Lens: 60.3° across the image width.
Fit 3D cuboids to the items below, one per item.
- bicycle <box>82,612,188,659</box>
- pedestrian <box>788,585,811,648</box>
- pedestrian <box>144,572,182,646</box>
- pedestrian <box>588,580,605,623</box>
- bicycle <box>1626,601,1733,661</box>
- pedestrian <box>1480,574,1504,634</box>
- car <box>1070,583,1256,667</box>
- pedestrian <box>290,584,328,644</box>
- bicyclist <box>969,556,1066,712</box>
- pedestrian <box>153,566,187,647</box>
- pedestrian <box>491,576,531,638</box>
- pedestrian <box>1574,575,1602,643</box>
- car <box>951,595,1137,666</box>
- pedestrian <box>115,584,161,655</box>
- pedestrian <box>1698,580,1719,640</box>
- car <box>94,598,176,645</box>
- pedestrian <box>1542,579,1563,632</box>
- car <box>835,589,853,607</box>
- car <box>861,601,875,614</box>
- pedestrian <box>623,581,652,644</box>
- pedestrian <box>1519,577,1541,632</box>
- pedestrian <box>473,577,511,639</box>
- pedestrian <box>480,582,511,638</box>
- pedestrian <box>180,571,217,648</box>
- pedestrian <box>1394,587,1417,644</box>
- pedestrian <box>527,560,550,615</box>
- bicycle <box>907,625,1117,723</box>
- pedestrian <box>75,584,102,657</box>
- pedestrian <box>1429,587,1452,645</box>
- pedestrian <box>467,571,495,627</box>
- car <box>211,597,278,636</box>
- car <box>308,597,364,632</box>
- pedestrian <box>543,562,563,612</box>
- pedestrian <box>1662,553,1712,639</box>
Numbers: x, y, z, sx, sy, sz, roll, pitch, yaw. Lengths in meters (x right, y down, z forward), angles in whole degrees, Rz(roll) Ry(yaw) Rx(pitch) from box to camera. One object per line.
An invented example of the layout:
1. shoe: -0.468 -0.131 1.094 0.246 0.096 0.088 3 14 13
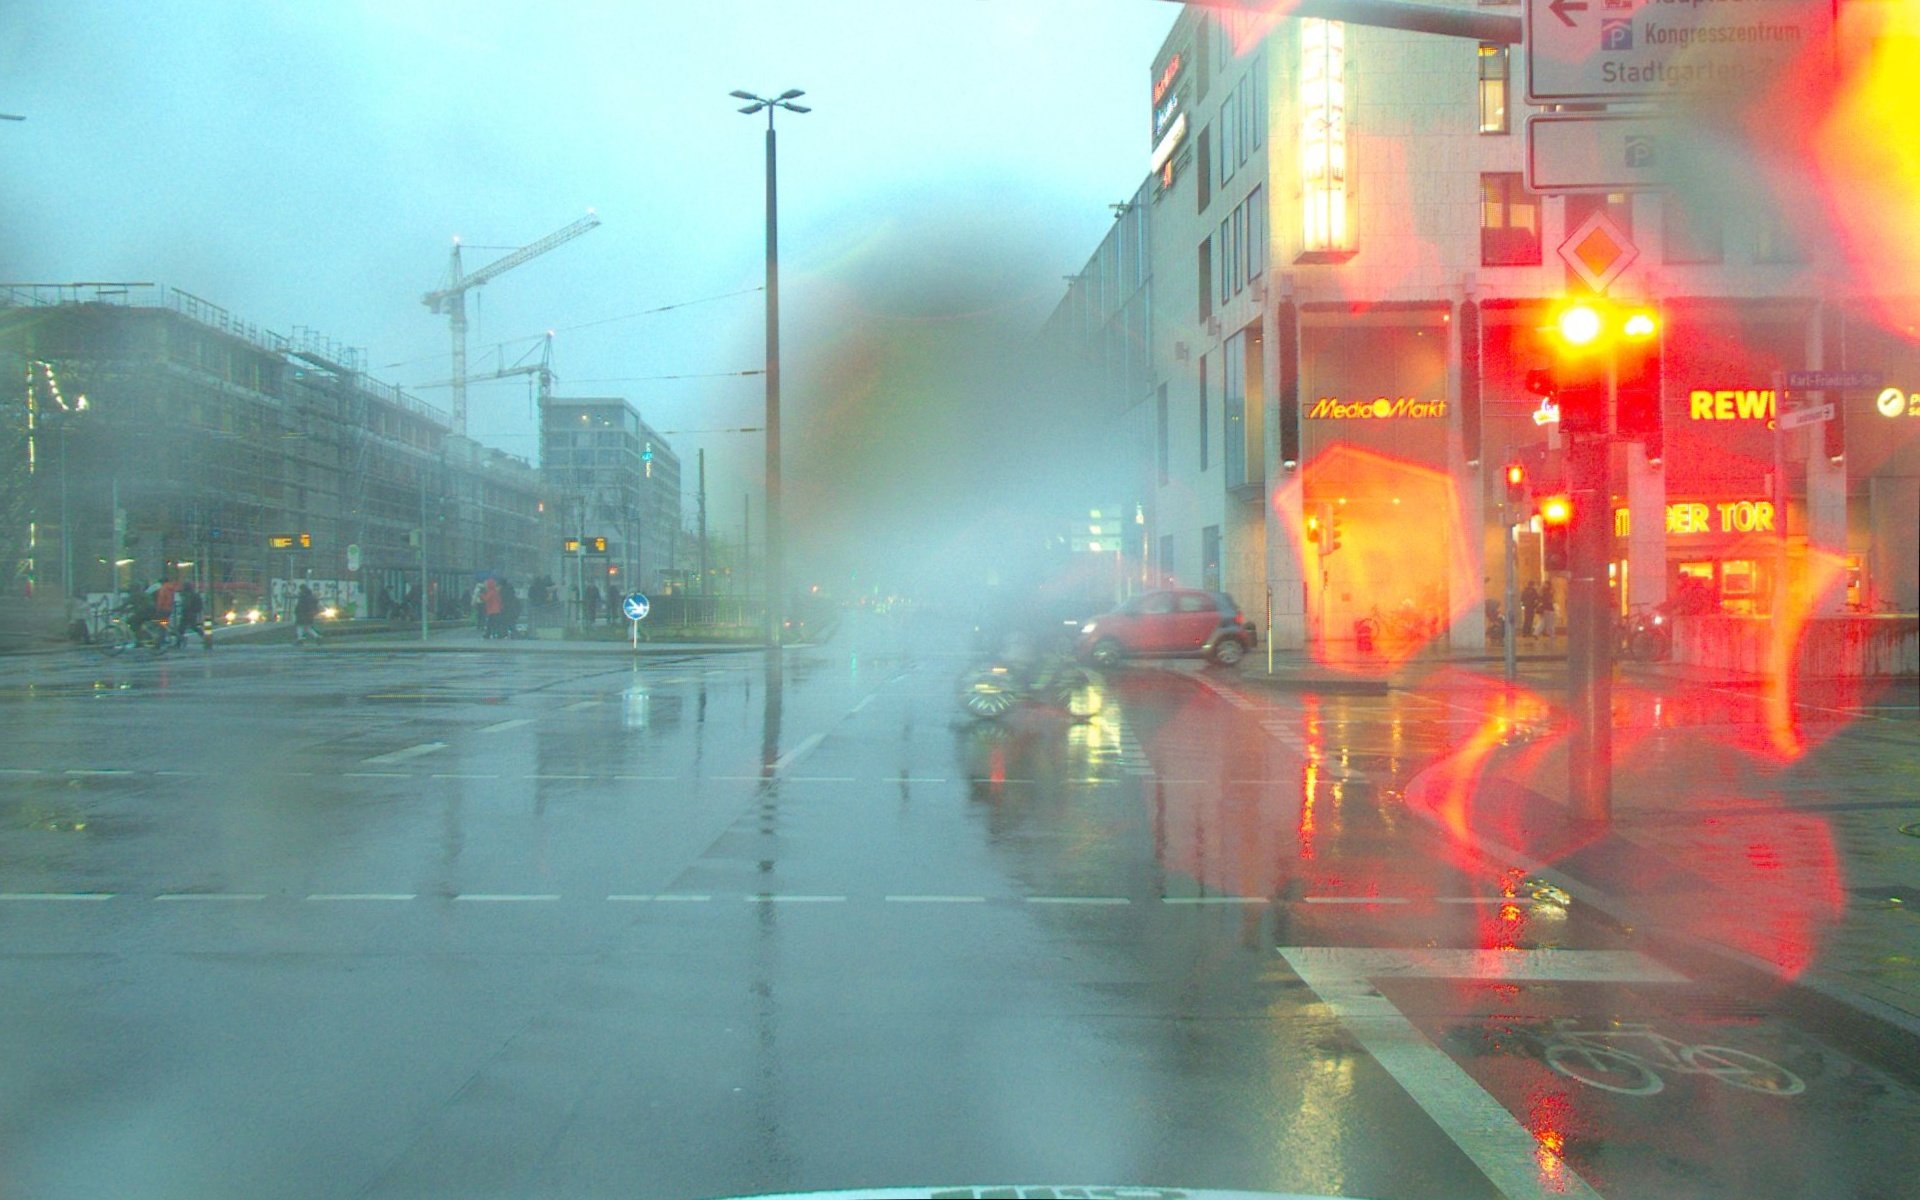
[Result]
1. bicycle: -18.859 0.811 37.850 2.090 1.009 0.540 -1 -4 -11
2. pedestrian: -4.614 0.467 47.632 0.620 1.803 0.483 -1 0 -2
3. pedestrian: -22.454 0.255 46.593 0.778 2.049 0.745 -1 0 -11
4. pedestrian: -15.058 0.070 68.603 0.648 1.776 0.619 -1 0 -11
5. bicycle: 13.840 0.597 31.848 1.806 1.112 0.618 -1 0 14
6. pedestrian: 15.750 0.123 48.947 0.526 1.748 0.500 -1 0 37
7. car: 4.081 0.502 33.546 3.498 1.610 1.675 -1 -1 -3
8. pedestrian: -18.167 0.395 46.145 0.692 1.647 0.680 -1 0 22
9. bicyclist: 0.645 0.383 18.782 1.013 1.726 0.617 -1 0 -5
10. pedestrian: -20.752 0.164 43.445 0.682 2.124 0.604 0 0 -41
11. pedestrian: -12.617 0.199 46.509 0.827 1.718 0.676 -1 0 28
12. pedestrian: 16.015 0.224 42.190 0.526 1.715 0.547 -1 0 37
13. car: 1.967 0.708 39.735 1.783 1.601 4.477 -1 0 -44
14. pedestrian: -18.814 0.450 37.866 0.800 1.597 0.535 0 -1 -10
15. pedestrian: 22.579 0.292 49.902 0.501 1.791 0.374 -1 0 16
16. car: -37.573 0.940 75.450 1.954 2.049 3.996 -1 0 -5
17. pedestrian: 19.651 0.177 54.884 0.526 1.748 0.500 -1 0 37
18. car: -13.869 -0.211 197.529 1.953 2.049 3.999 1 -1 -1
19. car: -12.814 1.093 230.836 1.850 1.814 3.713 1 -1 -1
20. pedestrian: -9.250 0.367 47.456 0.688 1.791 0.652 -1 0 -1
21. pedestrian: 18.333 0.143 53.186 0.526 1.748 0.500 -1 0 37
22. pedestrian: -12.979 0.213 45.909 0.815 1.709 0.618 -1 0 30
23. pedestrian: -13.905 0.301 49.544 0.696 1.647 0.609 -1 0 42
24. pedestrian: -20.365 0.254 44.237 0.770 2.049 0.604 0 0 -39
25. pedestrian: 13.551 0.470 50.320 0.526 1.748 0.500 -1 0 37
26. pedestrian: -13.771 -0.410 54.066 0.607 1.776 0.612 -1 0 -6
27. bicycle: 0.578 0.828 18.767 2.326 1.051 0.617 -1 0 -5
28. pedestrian: -24.631 0.577 46.761 0.498 2.049 0.638 -1 0 -11
29. pedestrian: 14.586 0.483 50.234 0.526 1.748 0.500 -1 0 37
30. pedestrian: -15.360 -0.040 53.073 0.608 1.776 0.611 -1 0 33
31. car: -39.115 0.866 90.505 1.953 2.049 3.999 -1 0 -1
32. car: -38.119 0.861 101.165 1.953 2.049 3.999 -1 0 -1
33. pedestrian: -14.700 -0.467 59.801 0.648 1.776 0.734 -1 0 -11
34. pedestrian: 13.983 -0.077 31.809 0.764 1.623 0.613 -1 0 14
